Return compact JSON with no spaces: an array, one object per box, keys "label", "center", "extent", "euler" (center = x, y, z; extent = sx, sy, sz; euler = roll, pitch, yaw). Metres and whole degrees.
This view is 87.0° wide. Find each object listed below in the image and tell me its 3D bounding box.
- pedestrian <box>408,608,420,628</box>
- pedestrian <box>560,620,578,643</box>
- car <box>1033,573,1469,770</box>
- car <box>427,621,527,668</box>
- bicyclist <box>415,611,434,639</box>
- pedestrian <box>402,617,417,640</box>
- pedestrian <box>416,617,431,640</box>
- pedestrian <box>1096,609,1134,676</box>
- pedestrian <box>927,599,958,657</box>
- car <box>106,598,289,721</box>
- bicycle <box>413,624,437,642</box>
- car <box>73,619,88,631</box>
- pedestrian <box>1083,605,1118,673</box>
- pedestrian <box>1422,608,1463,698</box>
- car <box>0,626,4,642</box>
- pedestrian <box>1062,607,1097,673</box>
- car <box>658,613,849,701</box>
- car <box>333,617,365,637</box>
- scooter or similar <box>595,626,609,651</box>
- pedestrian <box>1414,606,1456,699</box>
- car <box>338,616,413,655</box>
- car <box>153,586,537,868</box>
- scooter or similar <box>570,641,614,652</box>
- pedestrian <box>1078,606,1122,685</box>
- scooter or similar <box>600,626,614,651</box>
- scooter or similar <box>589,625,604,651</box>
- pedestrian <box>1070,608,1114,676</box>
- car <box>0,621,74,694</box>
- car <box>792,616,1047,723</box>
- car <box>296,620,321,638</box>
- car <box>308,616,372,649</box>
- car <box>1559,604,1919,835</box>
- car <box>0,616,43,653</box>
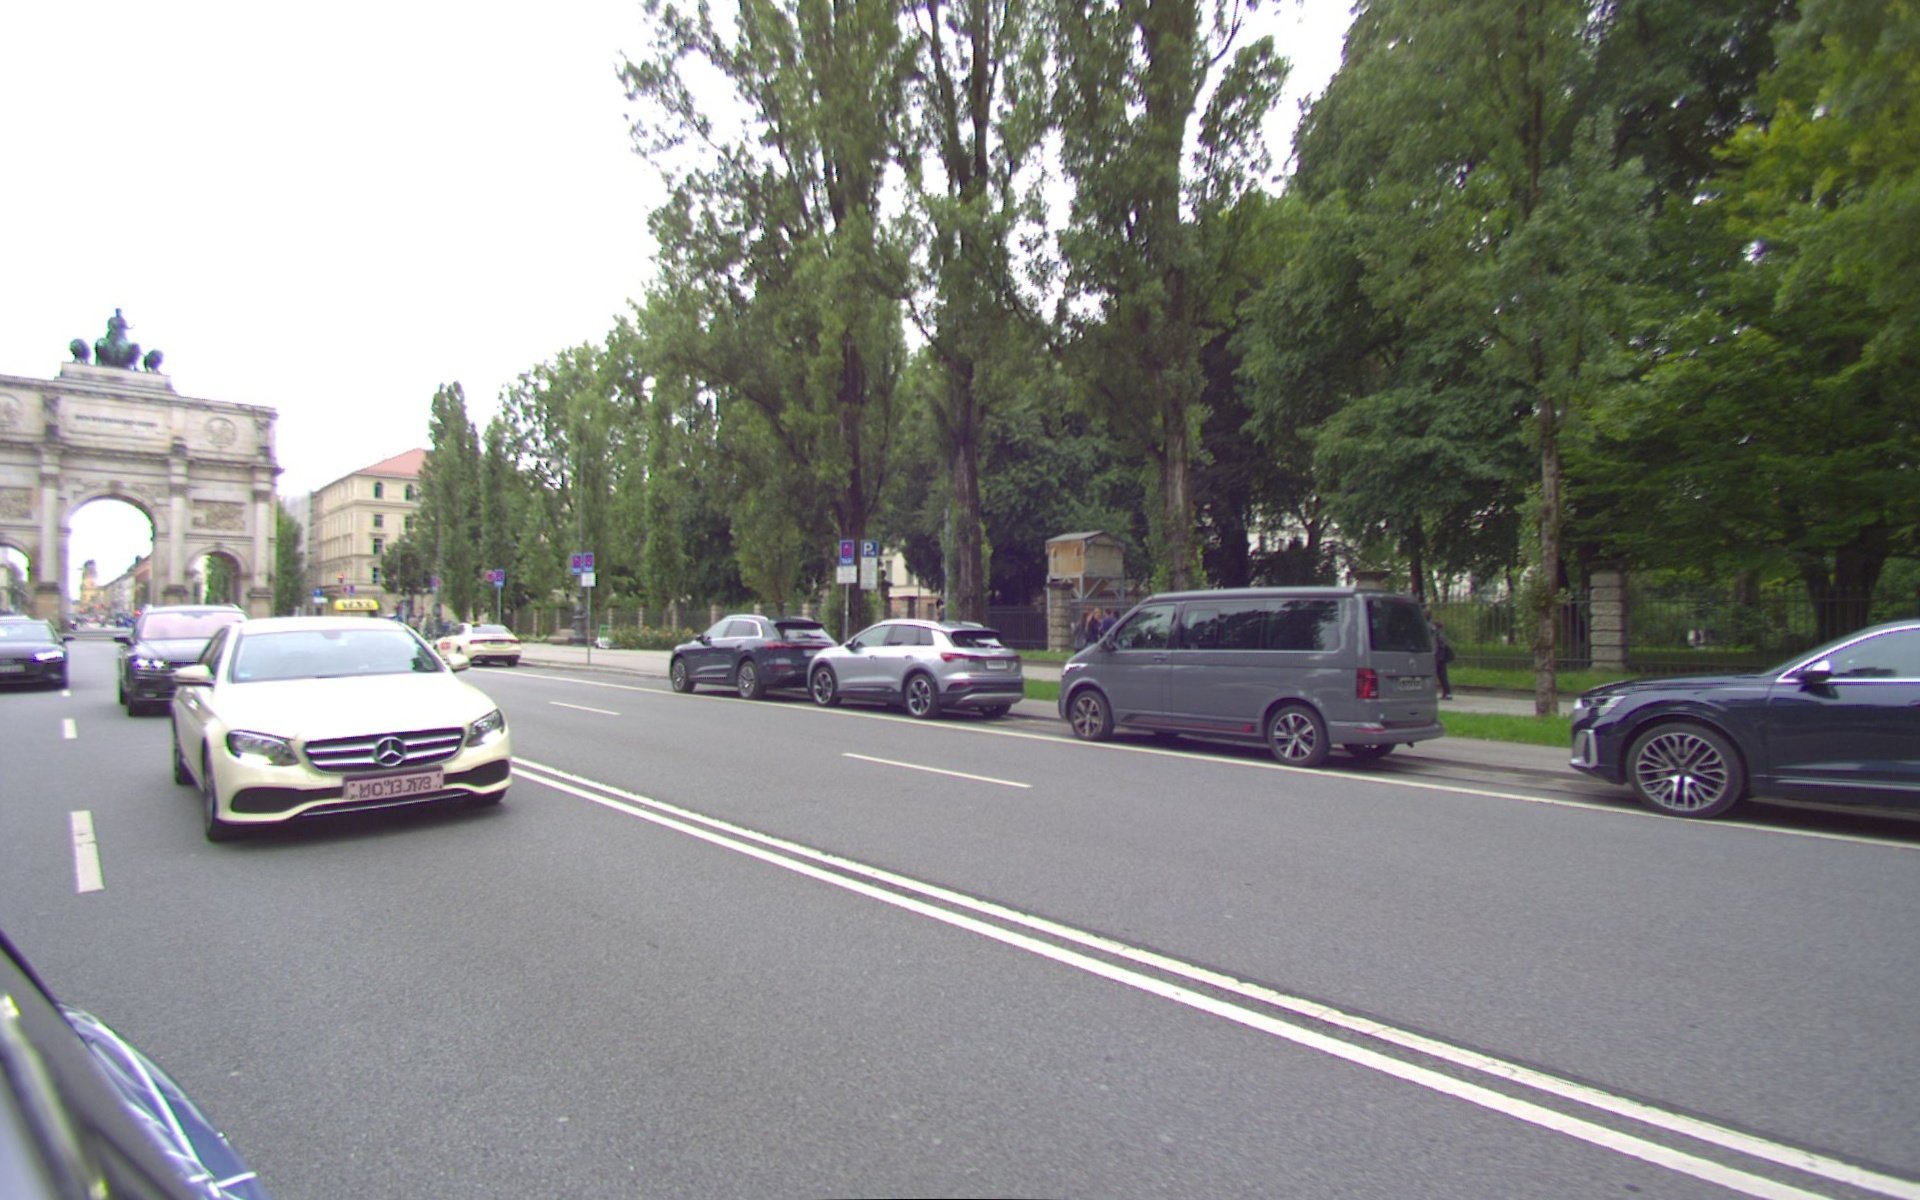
[{"label":"pedestrian","center":[-56.635,1.867,105.047],"extent":[0.749,2.029,0.791],"euler":[0,-2,13]},{"label":"pedestrian","center":[-23.538,1.899,60.958],"extent":[0.834,1.347,0.573],"euler":[-1,-2,21]},{"label":"car","center":[3.393,0.802,12.640],"extent":[1.969,1.971,4.943],"euler":[3,-3,-42]},{"label":"car","center":[-16.749,1.518,34.985],"extent":[1.907,1.508,4.796],"euler":[2,-3,-41]},{"label":"bicyclist","center":[-29.153,1.388,55.102],"extent":[0.685,1.510,0.862],"euler":[2,-2,-43]},{"label":"pedestrian","center":[-39.841,2.058,73.263],"extent":[0.833,1.691,0.969],"euler":[1,-2,-36]},{"label":"pedestrian","center":[-39.000,2.055,73.550],"extent":[0.833,1.691,0.969],"euler":[1,-2,-36]},{"label":"pedestrian","center":[4.092,1.103,26.656],"extent":[0.658,1.735,0.734],"euler":[1,-2,-41]},{"label":"pedestrian","center":[-0.513,0.823,29.585],"extent":[0.610,1.672,0.705],"euler":[0,-1,-41]},{"label":"car","center":[-12.228,0.832,16.113],"extent":[1.925,1.636,4.417],"euler":[-1,0,-42]},{"label":"bicycle","center":[-29.130,1.783,55.071],"extent":[0.699,0.946,1.737],"euler":[0,-1,-43]},{"label":"car","center":[-159.506,4.507,183.501],"extent":[1.969,2.029,4.400],"euler":[1,-2,-42]},{"label":"pedestrian","center":[3.648,0.998,26.262],"extent":[0.502,1.720,0.724],"euler":[0,-1,-41]},{"label":"pedestrian","center":[9.249,0.996,19.393],"extent":[0.543,1.681,0.532],"euler":[0,-1,-43]},{"label":"car","center":[-104.961,3.671,108.921],"extent":[1.757,1.763,4.334],"euler":[1,-2,-26]},{"label":"pedestrian","center":[3.057,1.016,25.936],"extent":[0.542,1.682,0.674],"euler":[0,-1,-41]},{"label":"car","center":[-4.388,1.136,21.008],"extent":[1.760,1.608,4.619],"euler":[4,-4,-42]},{"label":"car","center":[-61.678,2.700,102.154],"extent":[1.974,1.869,4.998],"euler":[3,-2,-40]},{"label":"scooter or similar","center":[-17.529,1.891,49.515],"extent":[0.240,1.210,1.124],"euler":[1,-2,-42]},{"label":"pedestrian","center":[8.897,0.970,18.946],"extent":[0.543,1.713,0.532],"euler":[0,-1,-43]},{"label":"car","center":[-26.506,1.567,45.805],"extent":[1.914,1.637,4.971],"euler":[2,-2,-42]},{"label":"car","center":[-5.183,0.735,8.166],"extent":[1.891,1.587,4.696],"euler":[-1,0,-41]},{"label":"scooter or similar","center":[-19.303,2.434,53.133],"extent":[1.316,0.522,2.232],"euler":[0,-2,7]},{"label":"pedestrian","center":[3.133,0.995,22.672],"extent":[0.575,1.733,0.787],"euler":[0,-1,-43]},{"label":"scooter or similar","center":[-17.334,1.891,49.687],"extent":[0.240,1.210,1.124],"euler":[1,-2,-42]},{"label":"scooter or similar","center":[-17.729,1.837,49.338],"extent":[0.255,1.251,1.142],"euler":[1,-2,-41]},{"label":"pedestrian","center":[3.239,1.009,24.828],"extent":[0.700,1.630,0.792],"euler":[1,-1,-42]},{"label":"car","center":[-19.659,1.141,20.875],"extent":[1.895,1.338,4.415],"euler":[-1,0,-43]},{"label":"car","center":[-0.840,1.112,17.590],"extent":[1.868,1.596,4.659],"euler":[2,-3,-42]},{"label":"car","center":[-63.846,2.845,99.173],"extent":[1.758,1.684,4.008],"euler":[1,-2,-38]},{"label":"car","center":[-31.295,1.621,51.020],"extent":[1.796,1.571,4.864],"euler":[4,-3,-42]},{"label":"car","center":[7.570,0.882,7.549],"extent":[1.793,1.621,5.059],"euler":[4,-3,-42]},{"label":"car","center":[-49.500,1.769,53.184],"extent":[1.862,1.871,4.318],"euler":[1,-1,-41]}]
